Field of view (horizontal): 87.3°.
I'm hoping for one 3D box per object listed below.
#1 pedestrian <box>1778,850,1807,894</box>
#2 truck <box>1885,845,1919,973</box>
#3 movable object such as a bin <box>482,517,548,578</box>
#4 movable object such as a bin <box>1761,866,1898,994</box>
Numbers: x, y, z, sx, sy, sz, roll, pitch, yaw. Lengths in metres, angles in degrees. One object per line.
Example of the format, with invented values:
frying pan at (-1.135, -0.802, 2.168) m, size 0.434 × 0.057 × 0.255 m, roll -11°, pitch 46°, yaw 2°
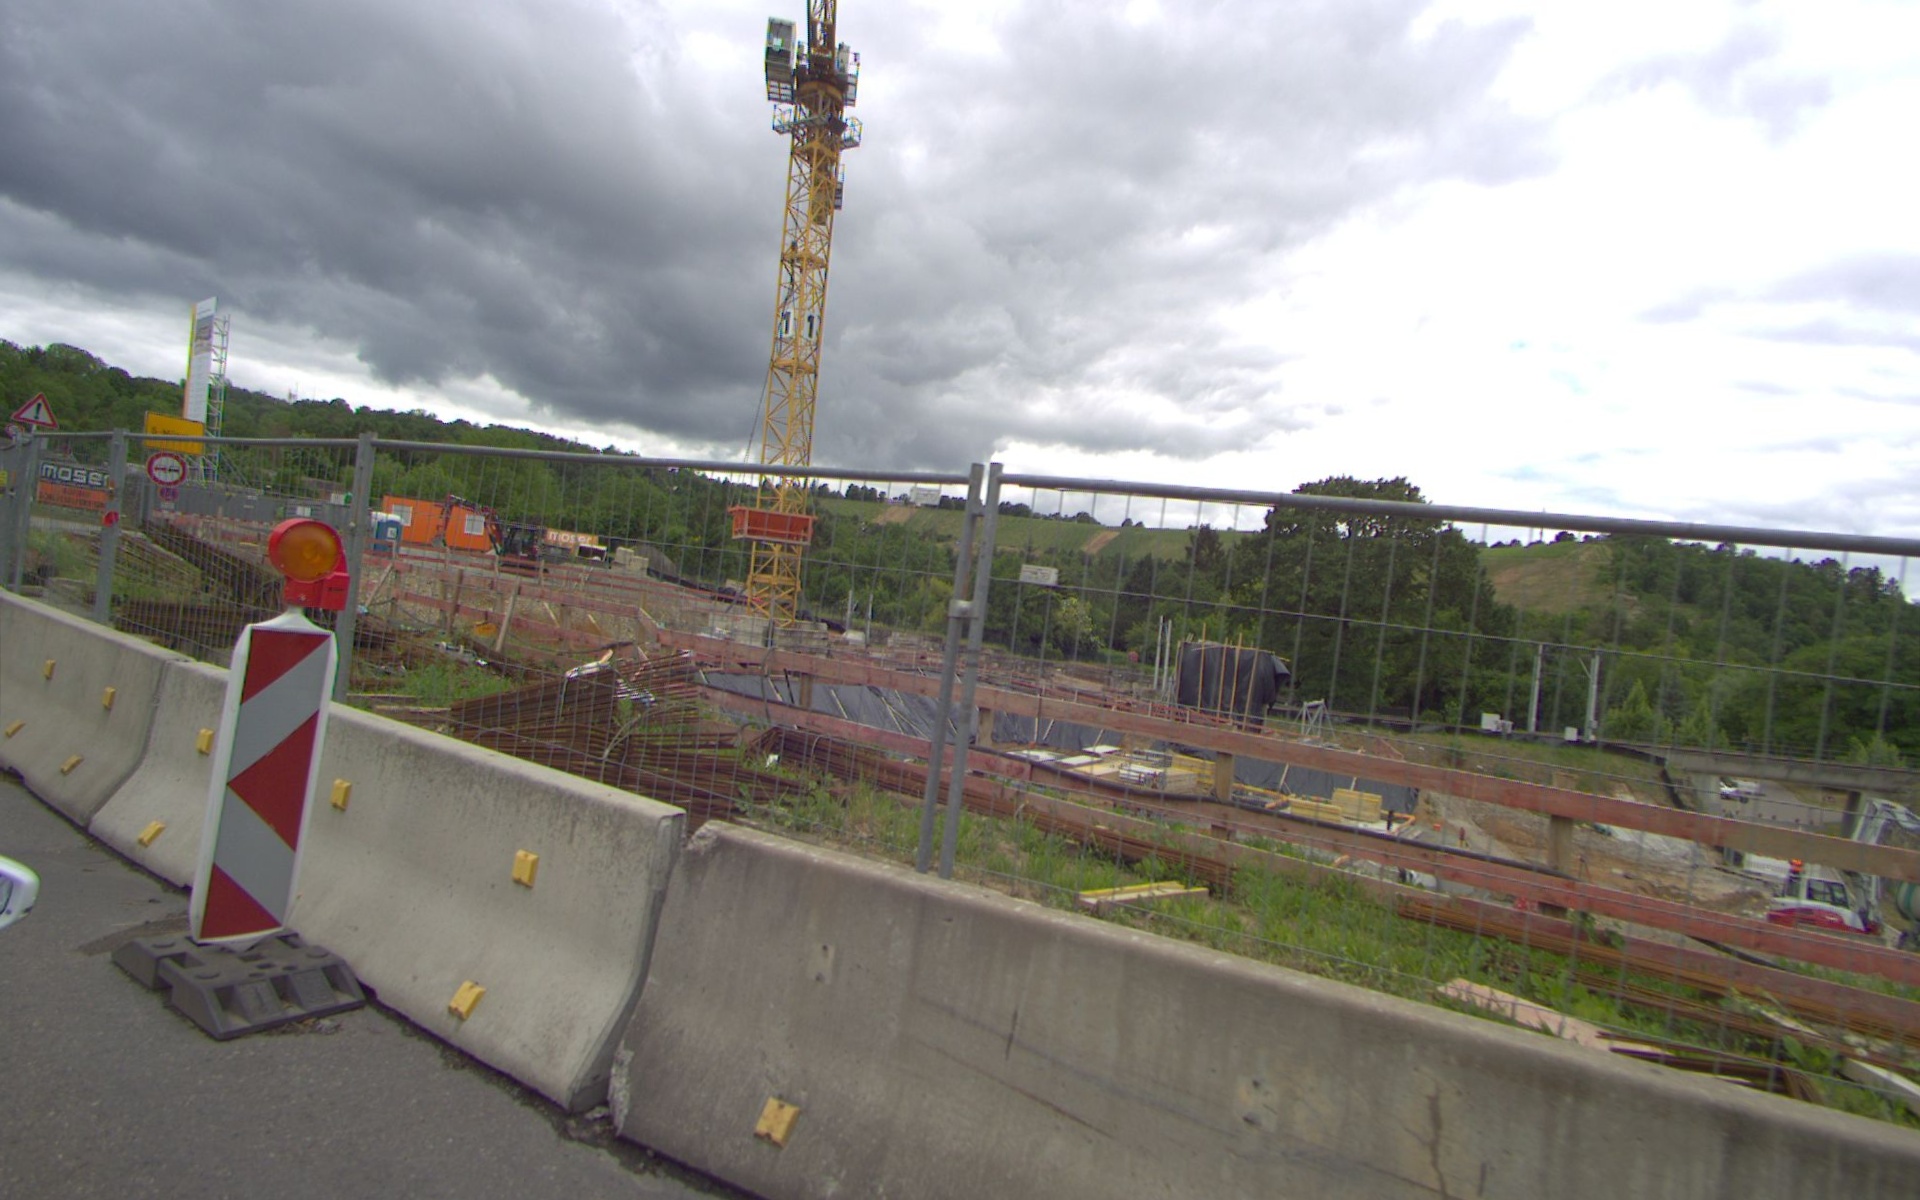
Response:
pedestrian at (43.895, 14.337, 53.061) m, size 0.810 × 2.035 × 0.683 m, roll 8°, pitch -2°, yaw 23°
truck at (32.569, 10.482, 30.497) m, size 2.795 × 3.938 × 11.621 m, roll 6°, pitch -2°, yaw 24°
movable object such as a bin at (-25.421, -3.001, 57.482) m, size 1.817 × 3.116 × 2.783 m, roll 7°, pitch 1°, yaw 45°
movable object such as a bin at (28.439, 10.656, 32.990) m, size 3.005 × 2.780 × 4.271 m, roll 7°, pitch -3°, yaw 41°
